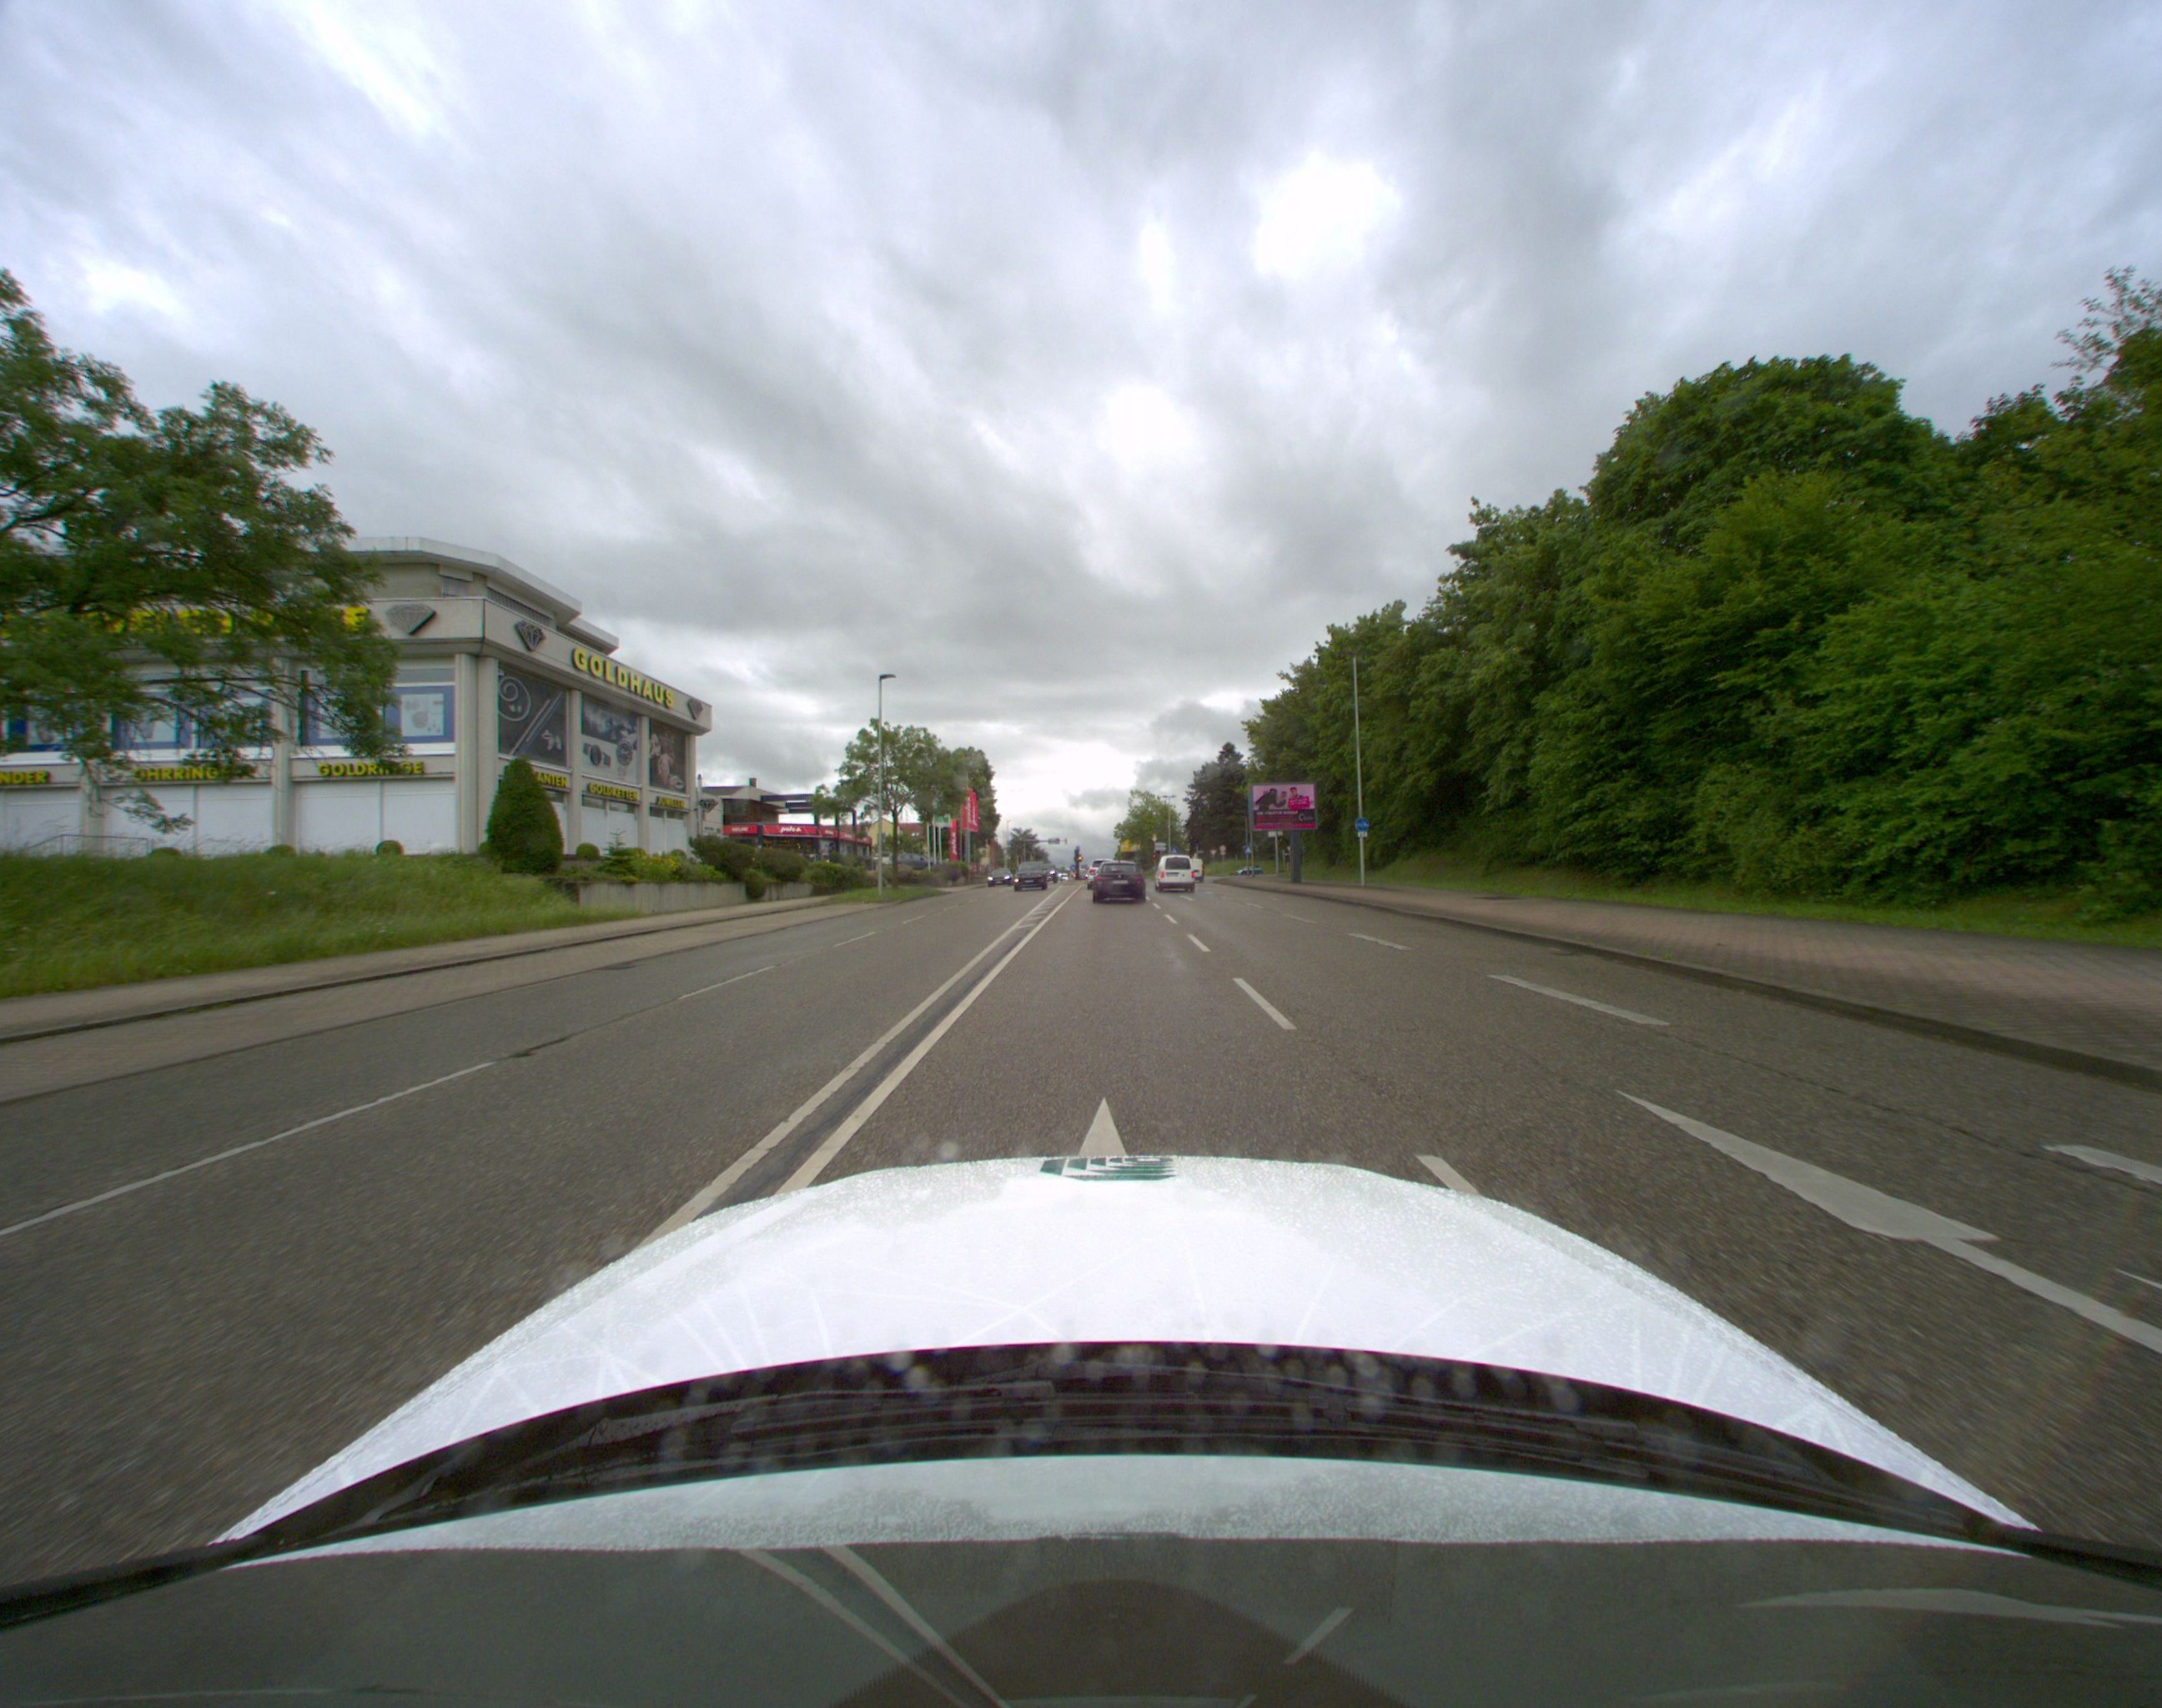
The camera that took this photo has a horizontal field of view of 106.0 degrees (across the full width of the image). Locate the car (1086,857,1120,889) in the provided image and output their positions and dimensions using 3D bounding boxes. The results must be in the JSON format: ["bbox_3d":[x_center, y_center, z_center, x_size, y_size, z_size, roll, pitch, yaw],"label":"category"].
[{"bbox_3d":[1.286,1.037,45.593,1.720,1.711,3.387,0,0,5],"label":"car"}]

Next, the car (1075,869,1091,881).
[{"bbox_3d":[0.186,2.762,104.823,1.890,1.456,4.093,-2,-2,-2],"label":"car"}]

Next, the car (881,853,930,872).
[{"bbox_3d":[-14.622,0.693,67.930,3.821,1.482,1.738,-1,-1,-6],"label":"car"}]

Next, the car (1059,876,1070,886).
[{"bbox_3d":[-3.096,4.991,152.159,1.852,1.823,4.577,-3,-2,0],"label":"car"}]

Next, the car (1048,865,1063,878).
[{"bbox_3d":[-3.023,2.099,95.907,1.662,1.398,3.998,-3,-1,-1],"label":"car"}]

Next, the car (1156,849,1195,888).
[{"bbox_3d":[4.666,0.716,40.682,1.734,1.869,3.949,0,-1,3],"label":"car"}]

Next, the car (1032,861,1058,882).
[{"bbox_3d":[-2.950,1.406,67.348,1.816,1.607,4.284,-3,-1,1],"label":"car"}]

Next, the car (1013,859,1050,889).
[{"bbox_3d":[-2.855,1.109,47.568,1.789,1.584,4.198,-2,0,0],"label":"car"}]

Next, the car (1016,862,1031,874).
[{"bbox_3d":[-7.951,1.905,112.688,1.746,1.611,4.531,-3,-1,0],"label":"car"}]

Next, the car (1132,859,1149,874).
[{"bbox_3d":[6.033,1.279,82.860,1.594,1.372,3.683,-2,0,3],"label":"car"}]

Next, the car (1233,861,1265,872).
[{"bbox_3d":[22.811,1.736,110.725,3.997,1.294,1.599,-3,0,-17],"label":"car"}]

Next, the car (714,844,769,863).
[{"bbox_3d":[-29.700,-0.009,71.377,3.972,1.512,1.876,-2,-1,4],"label":"car"}]

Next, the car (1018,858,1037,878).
[{"bbox_3d":[-5.879,1.549,89.484,1.791,1.983,4.895,-3,-1,-1],"label":"car"}]

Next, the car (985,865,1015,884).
[{"bbox_3d":[-6.527,1.646,65.724,1.786,1.401,4.302,-3,-1,2],"label":"car"}]

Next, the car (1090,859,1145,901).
[{"bbox_3d":[1.350,0.880,29.202,1.847,1.419,3.961,0,0,4],"label":"car"}]

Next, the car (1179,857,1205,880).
[{"bbox_3d":[8.851,1.092,64.735,1.803,1.708,3.957,-2,0,11],"label":"car"}]
